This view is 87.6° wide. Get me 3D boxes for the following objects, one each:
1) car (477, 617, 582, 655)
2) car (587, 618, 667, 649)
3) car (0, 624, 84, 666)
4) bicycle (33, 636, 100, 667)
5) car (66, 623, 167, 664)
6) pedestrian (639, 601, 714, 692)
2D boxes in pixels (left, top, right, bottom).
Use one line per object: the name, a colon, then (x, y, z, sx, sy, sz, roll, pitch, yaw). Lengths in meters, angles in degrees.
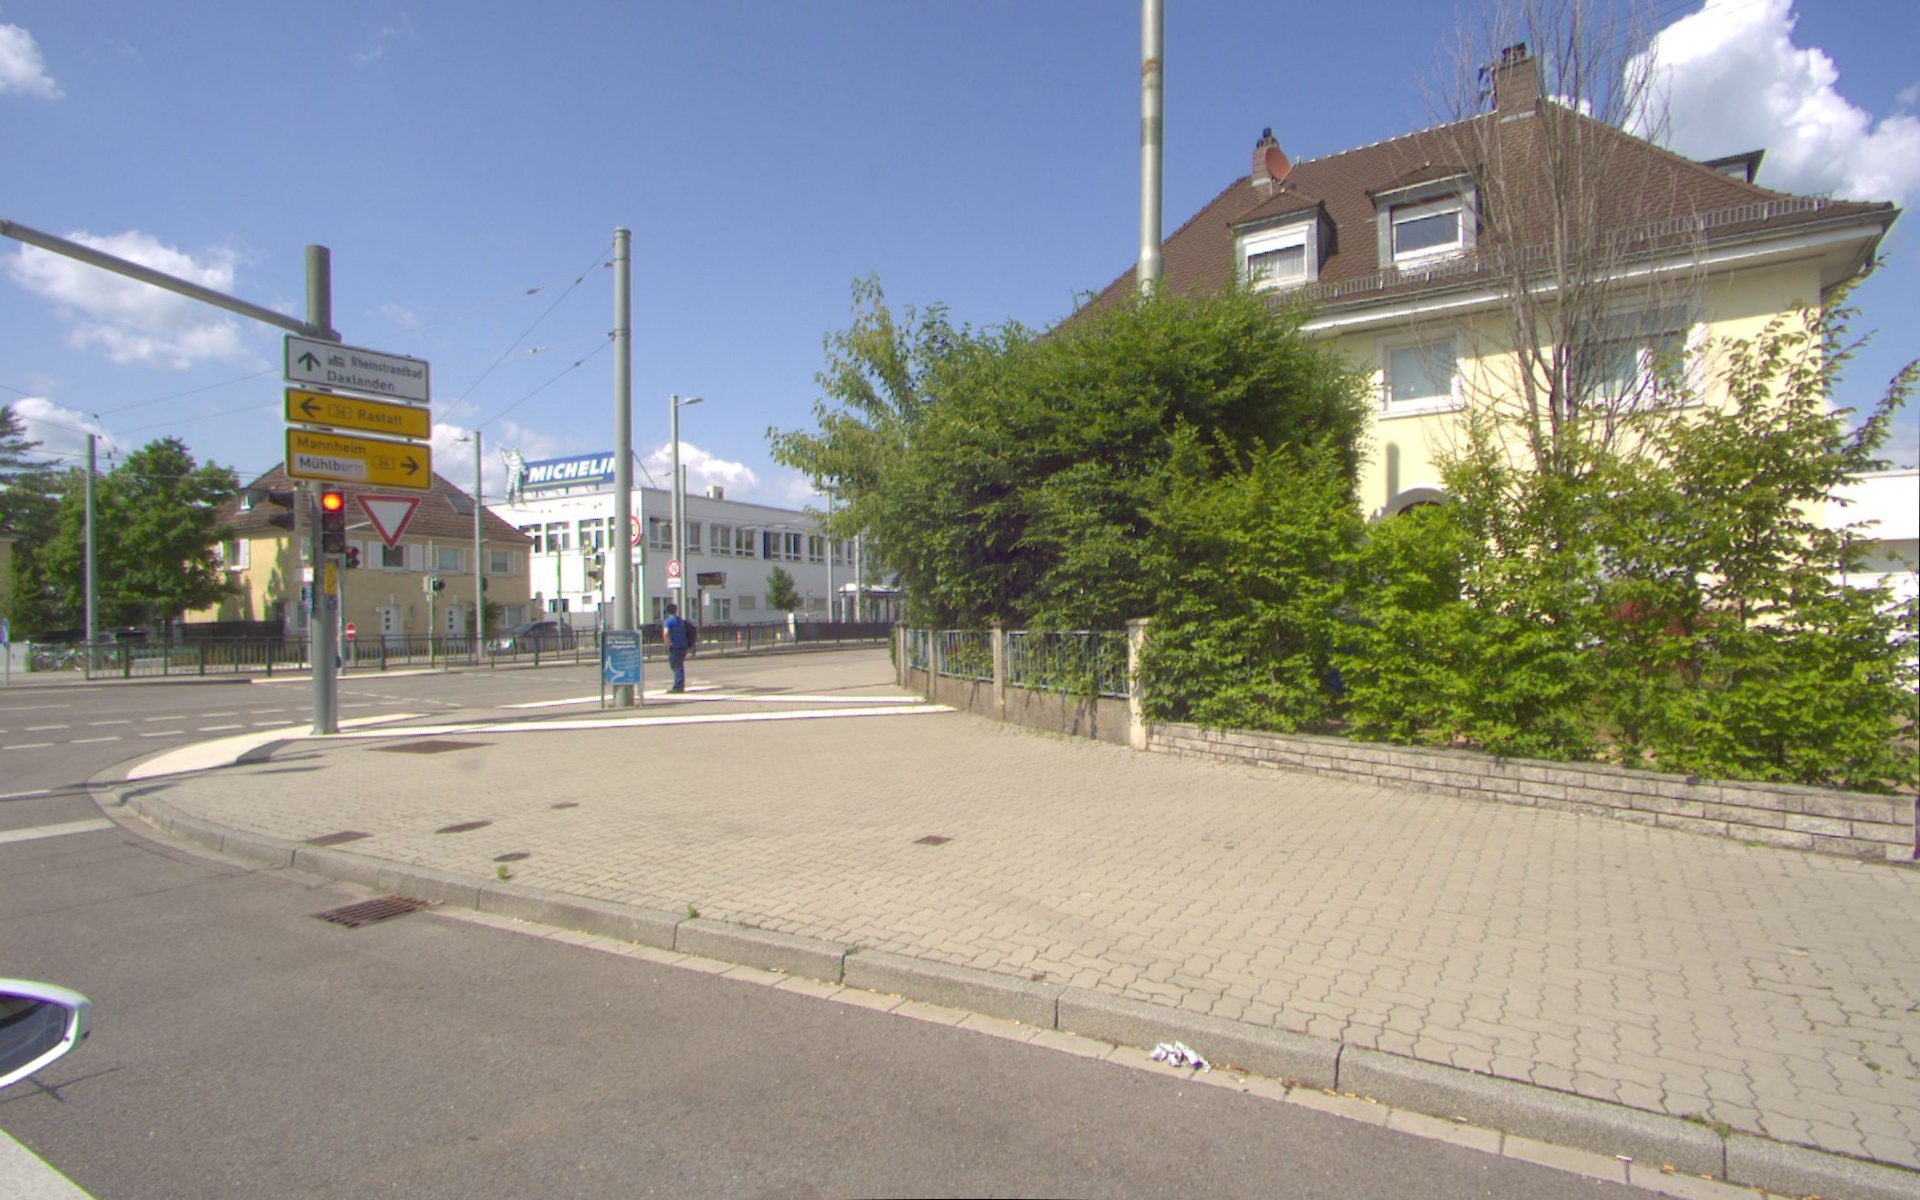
car: (-18.997, 1.565, 44.338, 1.815, 1.589, 3.981, -1, -1, 30)
car: (-16.500, 1.665, 49.796, 1.553, 1.465, 3.705, -1, -1, 30)
car: (-39.402, 1.921, 42.460, 3.934, 1.641, 1.823, -3, -1, 23)
bicycle: (-34.074, 1.959, 38.214, 1.777, 1.119, 0.701, -1, -1, -19)
car: (-37.608, 1.950, 44.647, 3.934, 1.641, 1.823, -3, -1, 23)
pedestrian: (-5.677, 0.907, 20.066, 1.025, 1.757, 1.028, -1, 0, 29)
